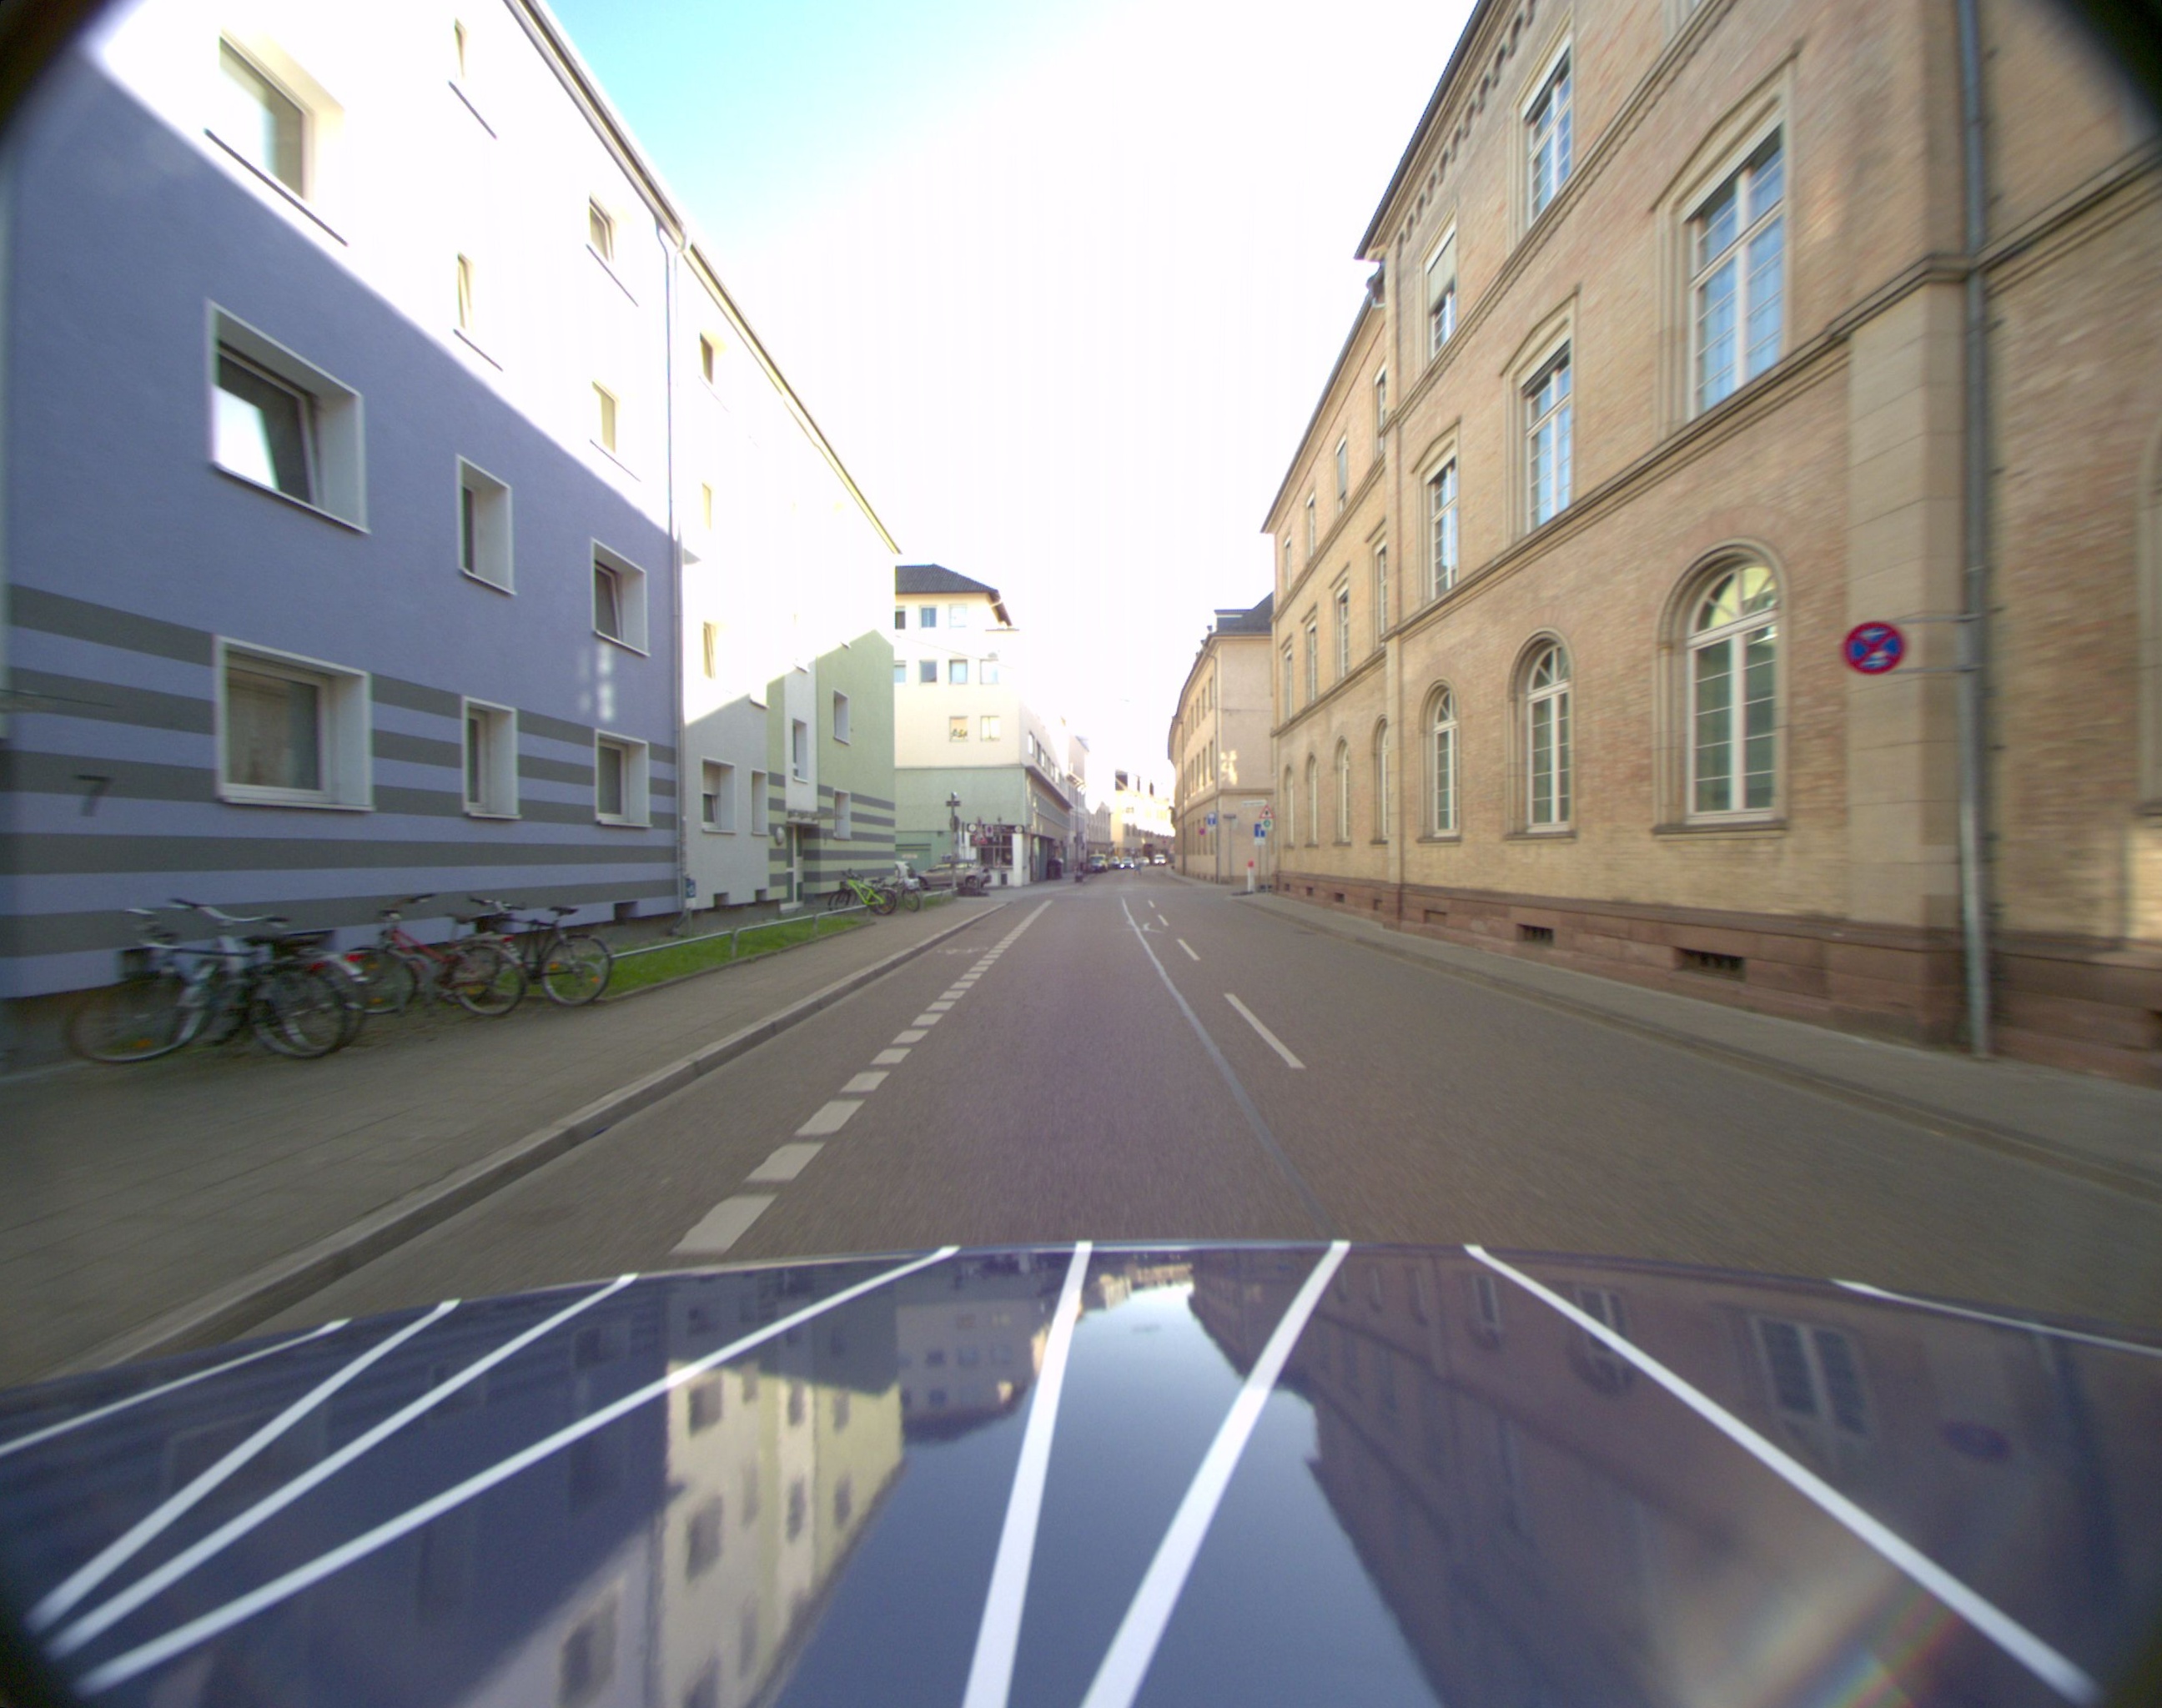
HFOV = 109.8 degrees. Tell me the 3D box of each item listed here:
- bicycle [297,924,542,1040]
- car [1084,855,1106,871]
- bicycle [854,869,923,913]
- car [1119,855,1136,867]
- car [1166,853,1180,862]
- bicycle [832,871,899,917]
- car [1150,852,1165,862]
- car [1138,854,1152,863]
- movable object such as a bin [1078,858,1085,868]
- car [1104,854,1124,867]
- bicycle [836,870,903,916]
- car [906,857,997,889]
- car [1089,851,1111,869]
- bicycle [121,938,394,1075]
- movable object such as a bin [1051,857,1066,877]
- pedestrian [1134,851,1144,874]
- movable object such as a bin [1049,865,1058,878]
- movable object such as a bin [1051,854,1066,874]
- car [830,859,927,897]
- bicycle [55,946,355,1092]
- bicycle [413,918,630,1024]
[{"bbox_3d":[-5.990,1.146,6.931,1.752,0.941,0.552,1,1,1],"label":"bicycle"},{"bbox_3d":[1.422,0.828,74.737,1.887,1.480,4.369,-1,0,4],"label":"car"},{"bbox_3d":[-5.441,1.027,21.479,1.752,1.135,0.552,3,0,1],"label":"bicycle"},{"bbox_3d":[6.378,0.939,103.598,1.828,1.550,3.989,-2,0,10],"label":"car"},{"bbox_3d":[17.959,0.736,148.546,1.773,1.574,3.862,-5,-1,20],"label":"car"},{"bbox_3d":[-5.600,1.047,19.790,1.607,1.135,0.237,3,0,-7],"label":"bicycle"},{"bbox_3d":[13.963,0.499,138.943,1.774,1.574,3.861,-5,-1,18],"label":"car"},{"bbox_3d":[10.793,0.734,127.366,1.733,1.539,4.004,-1,0,13],"label":"car"},{"bbox_3d":[0.040,0.998,82.687,0.607,1.045,0.709,4,1,5],"label":"movable object such as a bin"},{"bbox_3d":[4.265,0.830,97.128,1.828,1.645,4.497,-1,0,10],"label":"car"},{"bbox_3d":[-5.581,1.027,20.070,1.646,1.135,0.283,3,0,-7],"label":"bicycle"},{"bbox_3d":[-6.305,0.908,37.249,4.088,1.473,1.865,0,1,1],"label":"car"},{"bbox_3d":[2.070,0.640,81.081,1.887,1.871,4.847,-1,0,6],"label":"car"},{"bbox_3d":[-6.215,1.140,5.759,1.752,0.941,0.326,1,1,2],"label":"bicycle"},{"bbox_3d":[-1.645,0.934,55.543,0.983,1.377,1.320,1,3,3],"label":"movable object such as a bin"},{"bbox_3d":[4.282,0.619,56.138,0.694,1.660,0.875,-2,1,5],"label":"pedestrian"},{"bbox_3d":[-1.969,1.231,54.613,0.558,0.894,0.523,1,3,3],"label":"movable object such as a bin"},{"bbox_3d":[-1.657,0.739,57.176,0.983,1.472,1.551,1,3,3],"label":"movable object such as a bin"},{"bbox_3d":[-8.346,0.986,31.544,3.553,1.473,1.709,0,1,2],"label":"car"},{"bbox_3d":[-6.170,1.149,5.378,1.752,0.941,0.335,1,1,1],"label":"bicycle"},{"bbox_3d":[-5.517,1.143,7.545,1.752,0.941,0.552,1,1,1],"label":"bicycle"}]
